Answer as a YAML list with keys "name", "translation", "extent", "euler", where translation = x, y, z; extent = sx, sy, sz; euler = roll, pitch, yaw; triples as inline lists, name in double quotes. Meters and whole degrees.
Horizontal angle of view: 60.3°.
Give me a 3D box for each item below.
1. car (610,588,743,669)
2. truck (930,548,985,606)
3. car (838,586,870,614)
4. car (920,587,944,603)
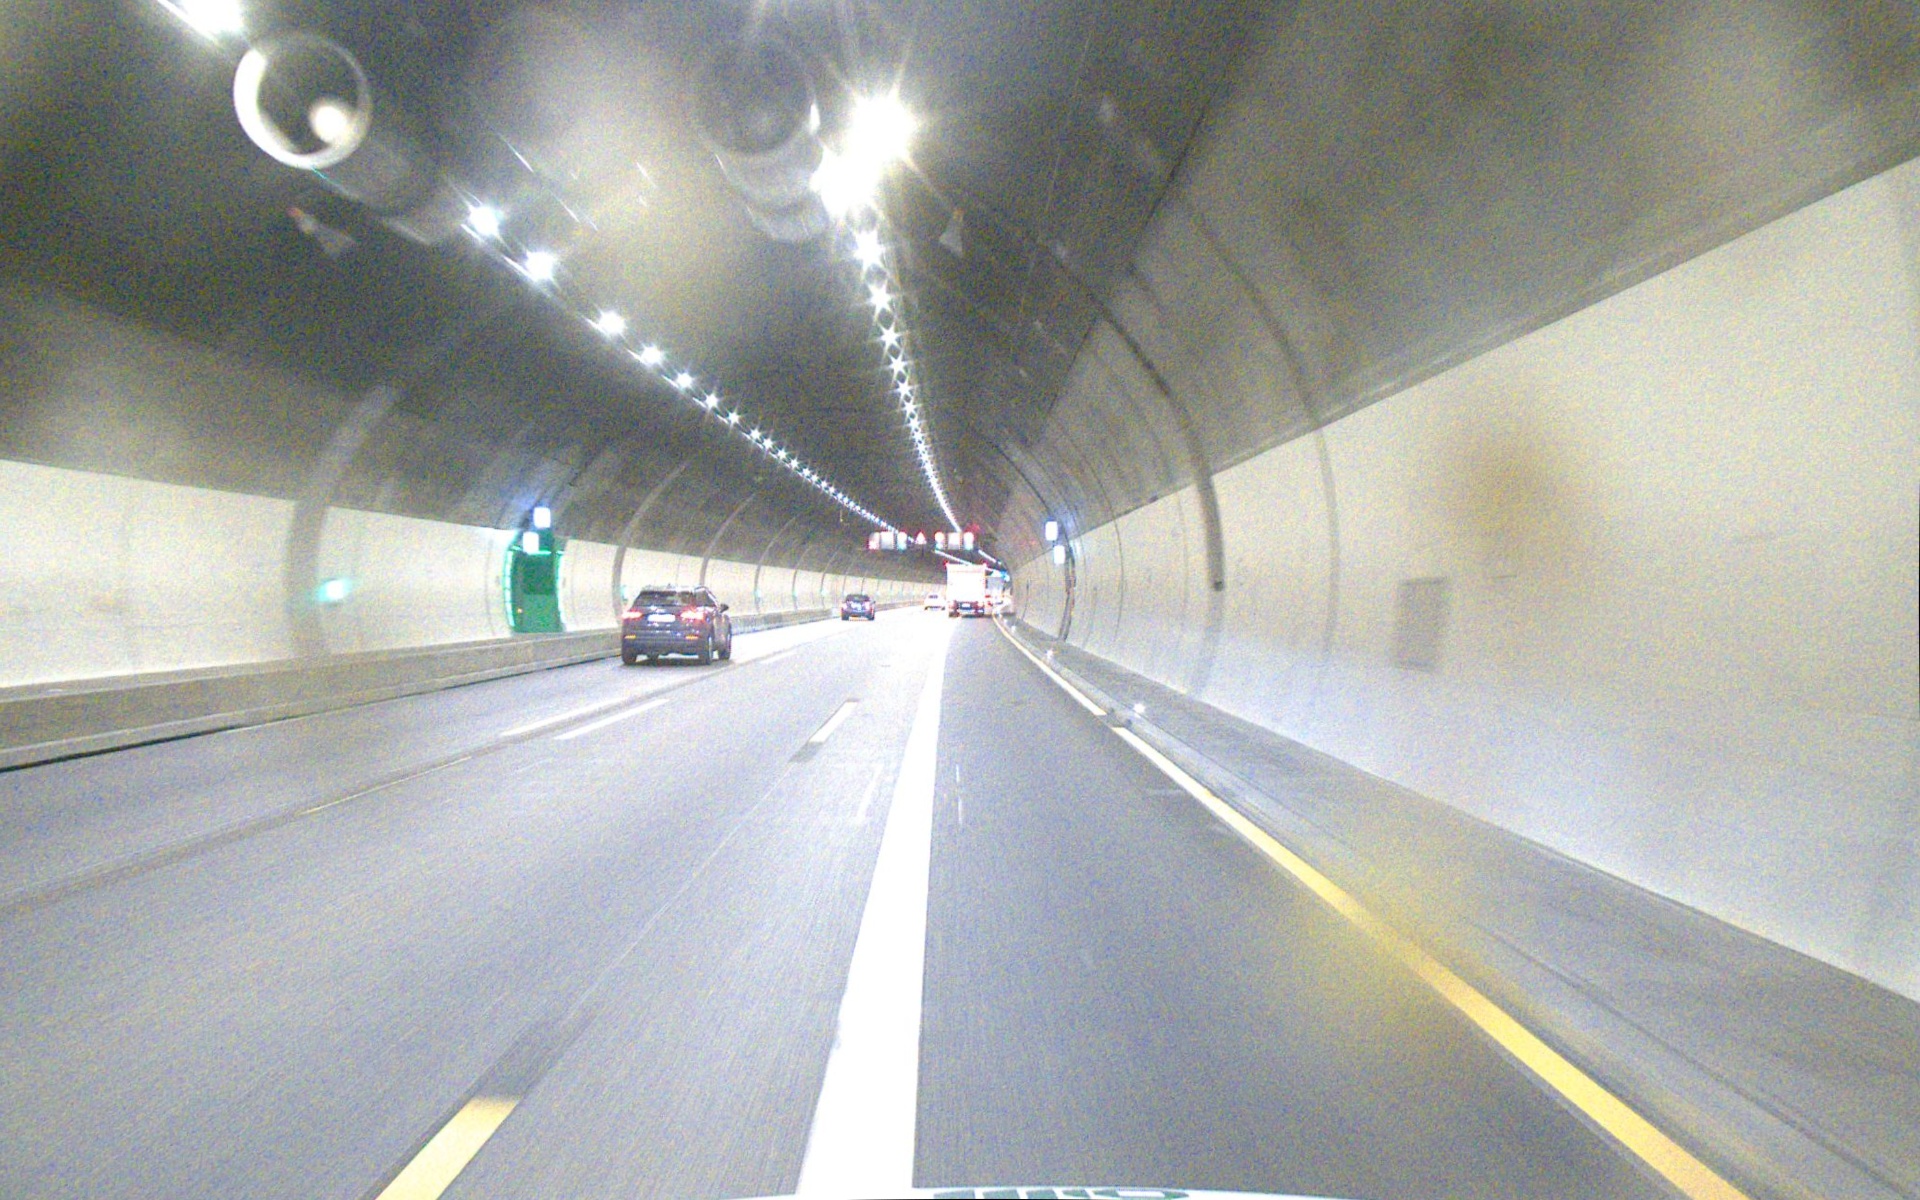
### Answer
- name: "car"
  translation: [-5.841, 0.542, 34.656]
  extent: [1.953, 1.567, 4.742]
  euler: [-1, 0, 0]
- name: "truck"
  translation: [-0.259, -1.557, 112.716]
  extent: [3.520, 3.714, 10.720]
  euler: [-1, 1, -1]
- name: "car"
  translation: [-5.791, -0.014, 90.720]
  extent: [1.655, 1.442, 3.921]
  euler: [-1, 1, -2]
- name: "car"
  translation: [-2.536, -0.467, 150.110]
  extent: [1.952, 1.437, 4.744]
  euler: [-1, 1, 2]
